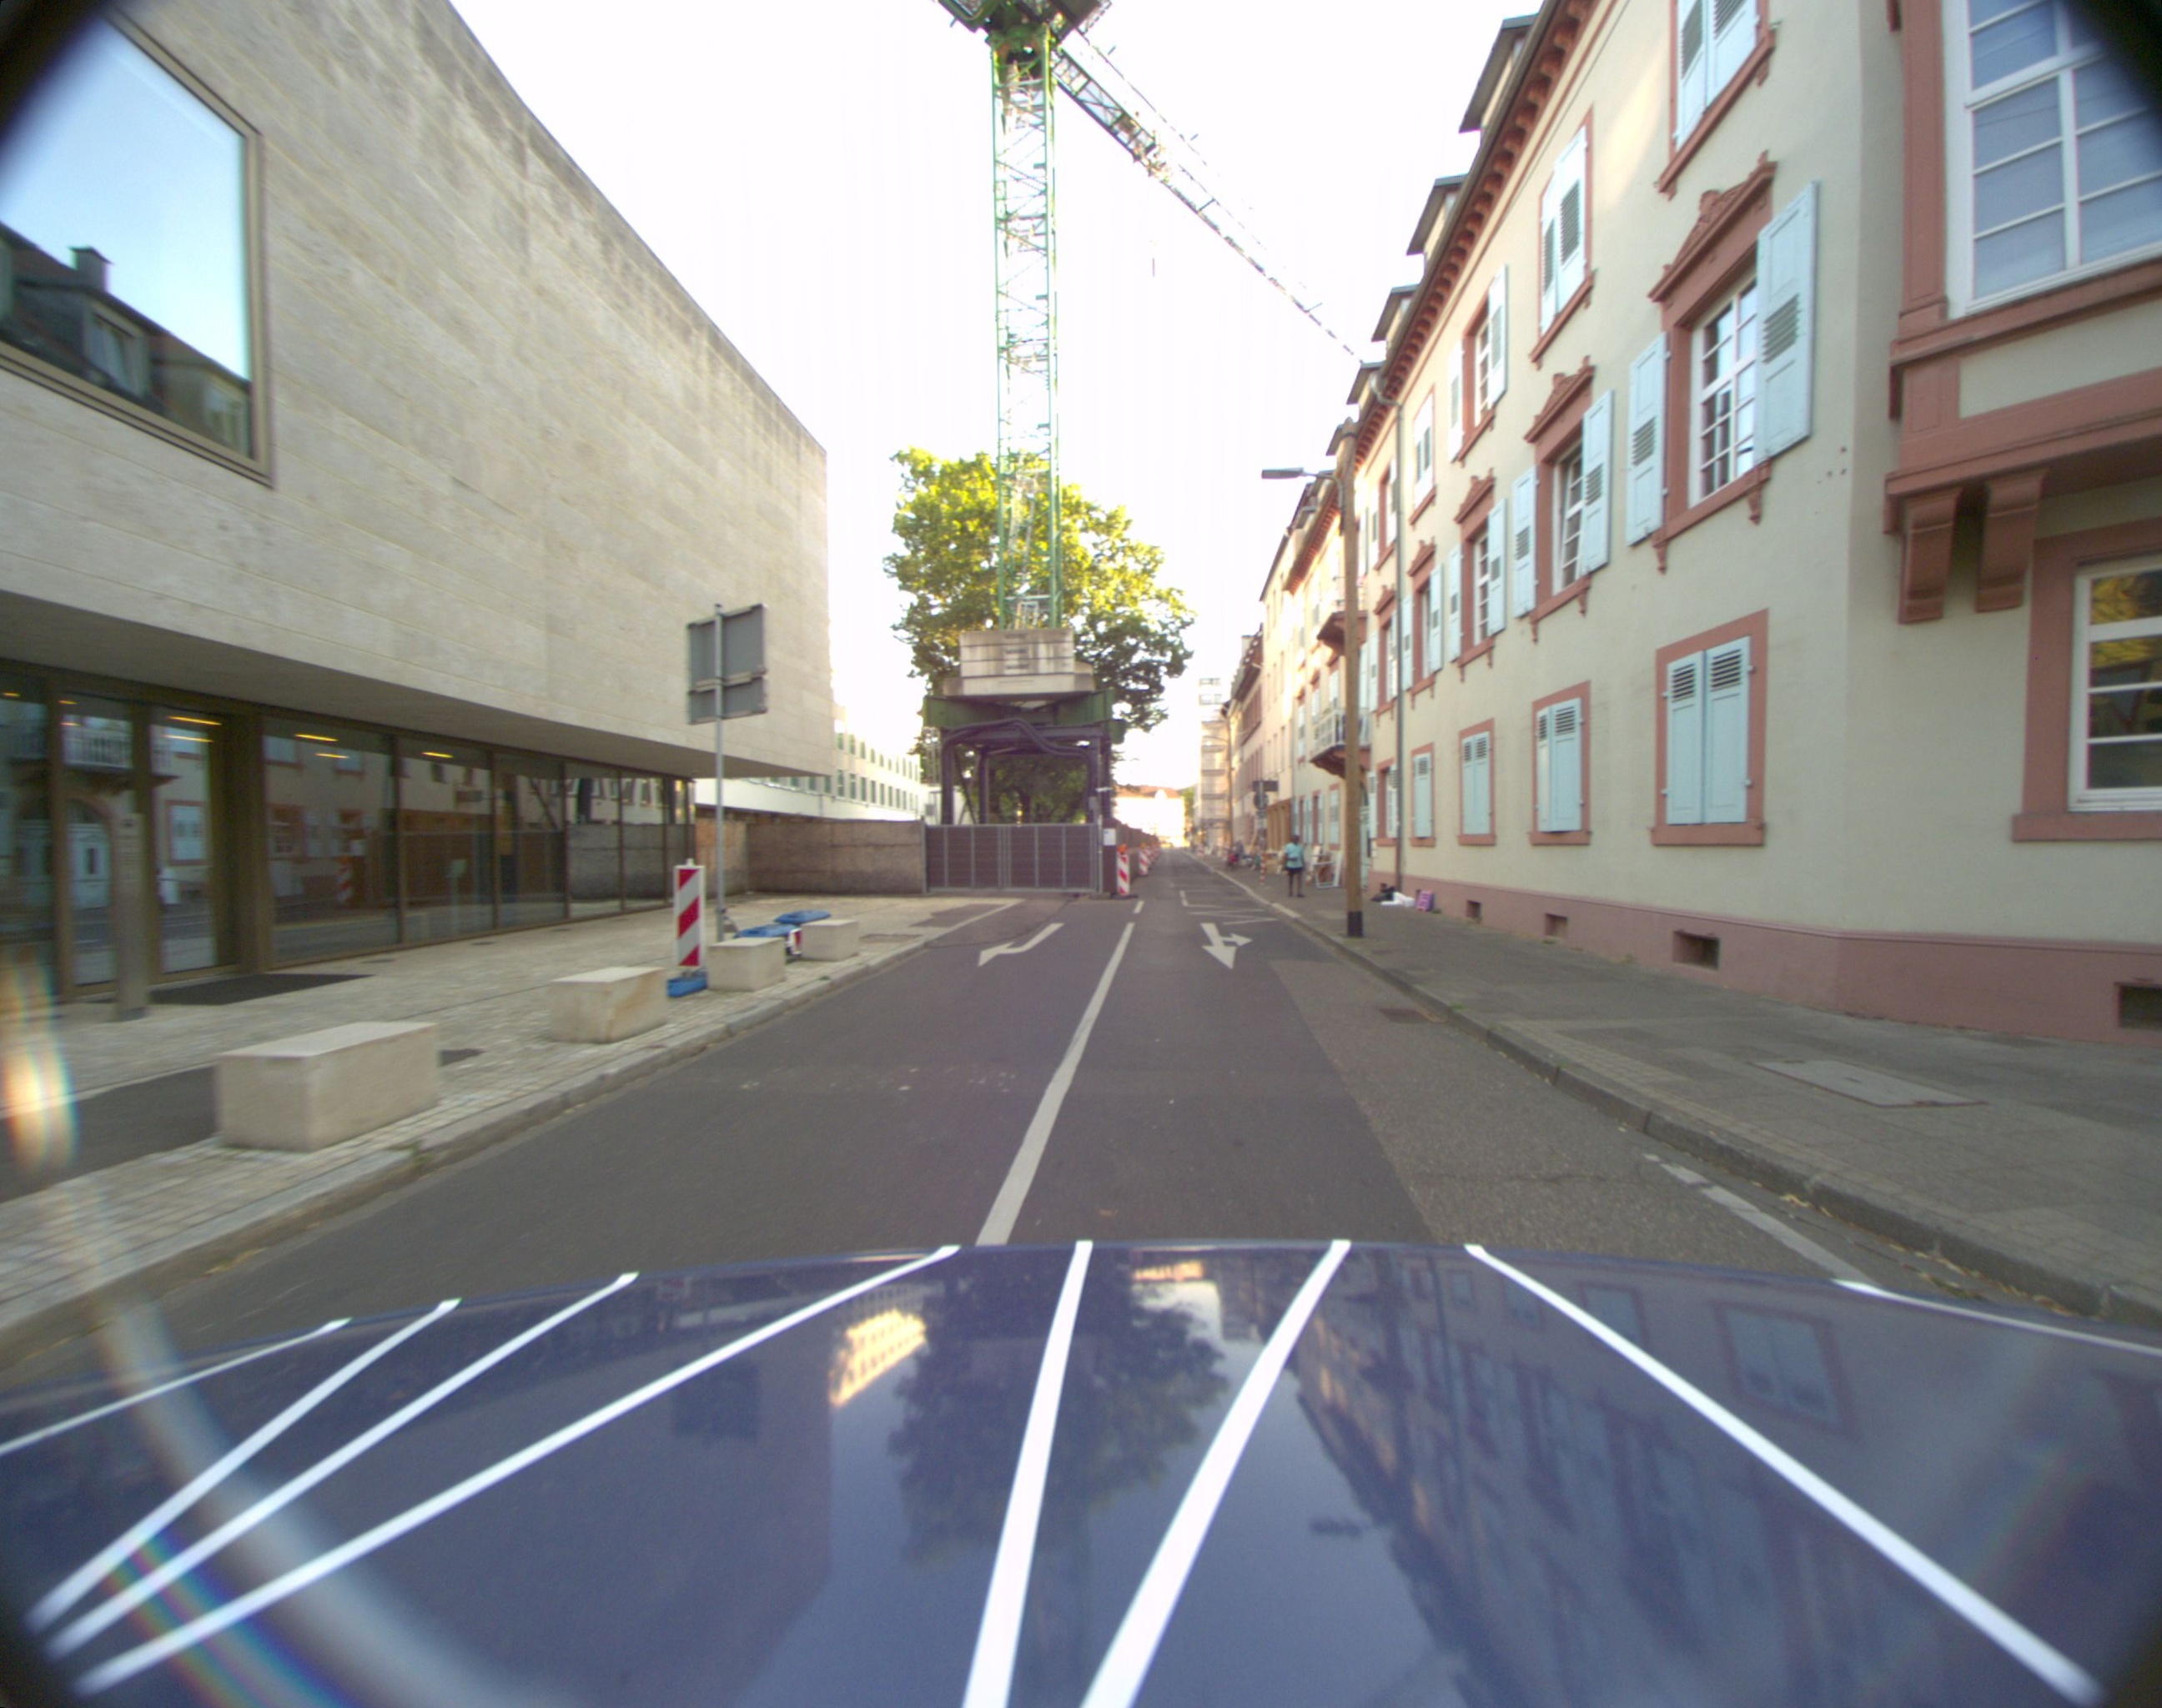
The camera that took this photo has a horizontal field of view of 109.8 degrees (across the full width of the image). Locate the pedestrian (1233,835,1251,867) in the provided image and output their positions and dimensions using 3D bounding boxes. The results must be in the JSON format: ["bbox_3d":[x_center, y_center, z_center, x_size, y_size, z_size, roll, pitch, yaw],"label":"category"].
[{"bbox_3d":[8.865,-0.162,41.880,0.826,1.687,0.649,-2,1,5],"label":"pedestrian"}]

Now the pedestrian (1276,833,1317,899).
[{"bbox_3d":[5.712,0.308,20.182,0.826,1.687,0.649,-4,1,5],"label":"pedestrian"}]

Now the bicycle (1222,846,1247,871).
[{"bbox_3d":[7.513,0.200,37.098,0.658,1.163,1.611,-1,1,32],"label":"bicycle"}]
